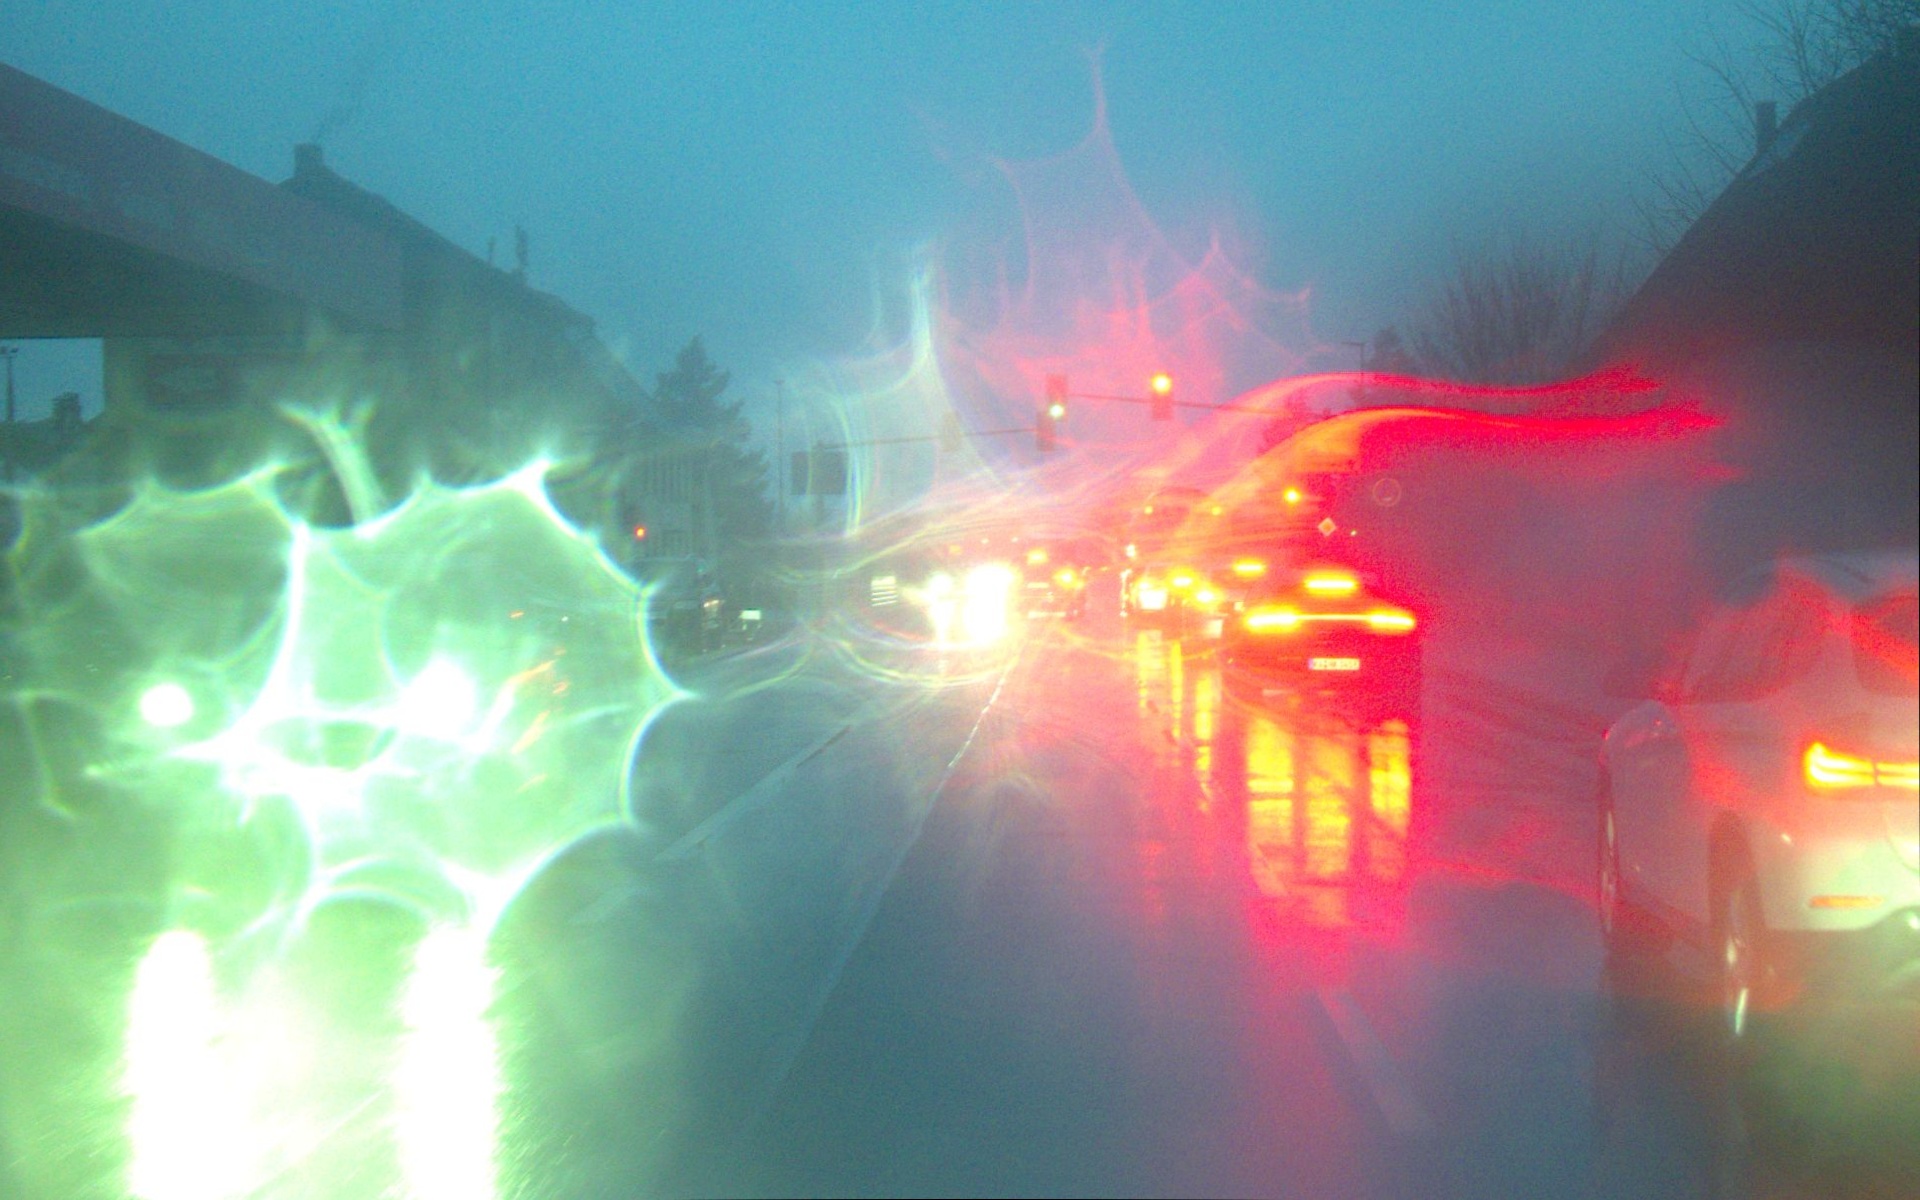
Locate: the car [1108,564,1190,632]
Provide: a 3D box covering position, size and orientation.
[{"bbox_3d":[4.169,-0.062,76.312,1.662,1.434,4.381,1,1,1],"label":"car"}]

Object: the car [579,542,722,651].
[{"bbox_3d":[-5.437,-0.099,60.933,1.971,1.824,4.512,-1,1,2],"label":"car"}]

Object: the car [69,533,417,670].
[{"bbox_3d":[-9.832,0.007,47.380,4.277,1.657,2.000,2,1,2],"label":"car"}]

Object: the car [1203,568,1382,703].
[{"bbox_3d":[3.550,0.341,37.393,1.641,1.362,4.769,0,1,2],"label":"car"}]

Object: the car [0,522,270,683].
[{"bbox_3d":[-9.617,0.008,36.200,4.280,1.651,1.981,0,1,1],"label":"car"}]

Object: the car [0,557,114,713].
[{"bbox_3d":[-9.696,0.289,30.614,3.858,1.341,1.840,0,1,1],"label":"car"}]

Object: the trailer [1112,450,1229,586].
[{"bbox_3d":[5.263,-2.008,87.466,2.488,3.230,10.868,1,1,1],"label":"trailer"}]

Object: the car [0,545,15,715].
[{"bbox_3d":[-9.830,0.255,27.807,3.858,1.401,1.840,0,1,1],"label":"car"}]

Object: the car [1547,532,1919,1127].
[{"bbox_3d":[3.087,0.565,11.273,1.708,1.570,4.464,0,1,2],"label":"car"}]

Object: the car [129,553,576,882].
[{"bbox_3d":[-3.164,0.543,18.639,1.603,1.529,4.000,-2,1,1],"label":"car"}]

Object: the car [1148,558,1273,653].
[{"bbox_3d":[3.637,0.048,50.479,1.653,1.331,4.272,0,1,2],"label":"car"}]

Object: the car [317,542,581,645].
[{"bbox_3d":[-9.027,-0.125,60.979,4.277,1.621,2.000,2,1,2],"label":"car"}]

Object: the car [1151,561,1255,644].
[{"bbox_3d":[4.802,0.017,68.359,1.836,1.563,4.503,1,1,1],"label":"car"}]

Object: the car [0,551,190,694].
[{"bbox_3d":[-9.603,0.200,33.290,3.858,1.341,1.840,0,1,1],"label":"car"}]

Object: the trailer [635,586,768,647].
[{"bbox_3d":[-5.083,0.296,68.484,1.993,1.035,6.104,-1,1,2],"label":"trailer"}]

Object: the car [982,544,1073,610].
[{"bbox_3d":[1.662,-0.586,86.087,2.047,1.567,4.703,-1,1,-1],"label":"car"}]

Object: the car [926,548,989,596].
[{"bbox_3d":[-0.084,-1.053,129.417,1.994,1.740,3.999,-2,1,5],"label":"car"}]
